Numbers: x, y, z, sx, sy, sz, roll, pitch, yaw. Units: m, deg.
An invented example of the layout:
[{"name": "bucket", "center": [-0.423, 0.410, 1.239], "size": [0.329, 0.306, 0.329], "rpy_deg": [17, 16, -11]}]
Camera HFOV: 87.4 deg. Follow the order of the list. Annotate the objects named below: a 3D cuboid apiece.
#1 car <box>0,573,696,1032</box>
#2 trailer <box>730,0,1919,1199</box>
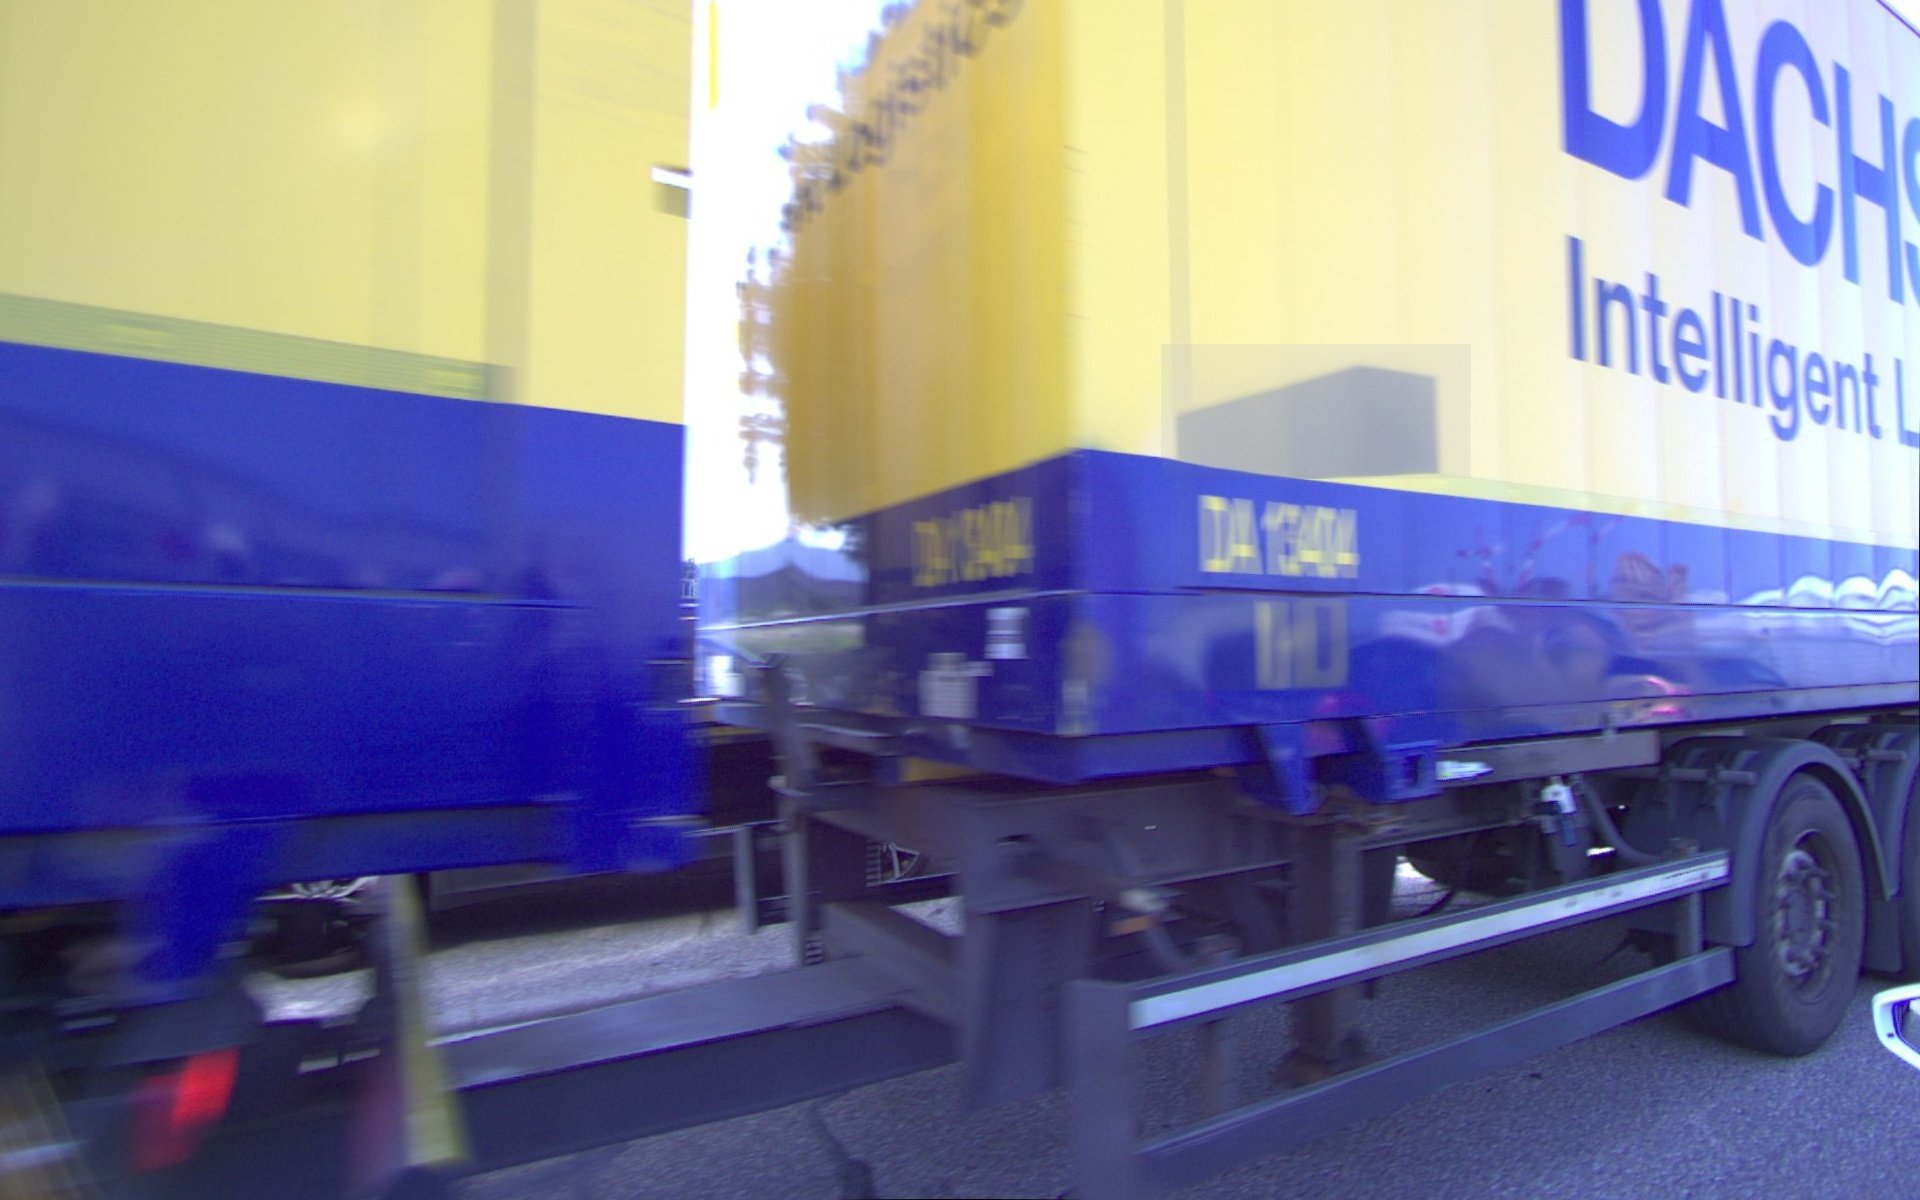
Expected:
[{"name": "car", "center": [-3.644, 0.727, 4.580], "size": [4.395, 1.647, 1.894], "rpy_deg": [1, 0, -29]}, {"name": "trailer", "center": [3.365, -0.471, 4.839], "size": [8.398, 4.199, 2.487], "rpy_deg": [1, -3, -31]}]
